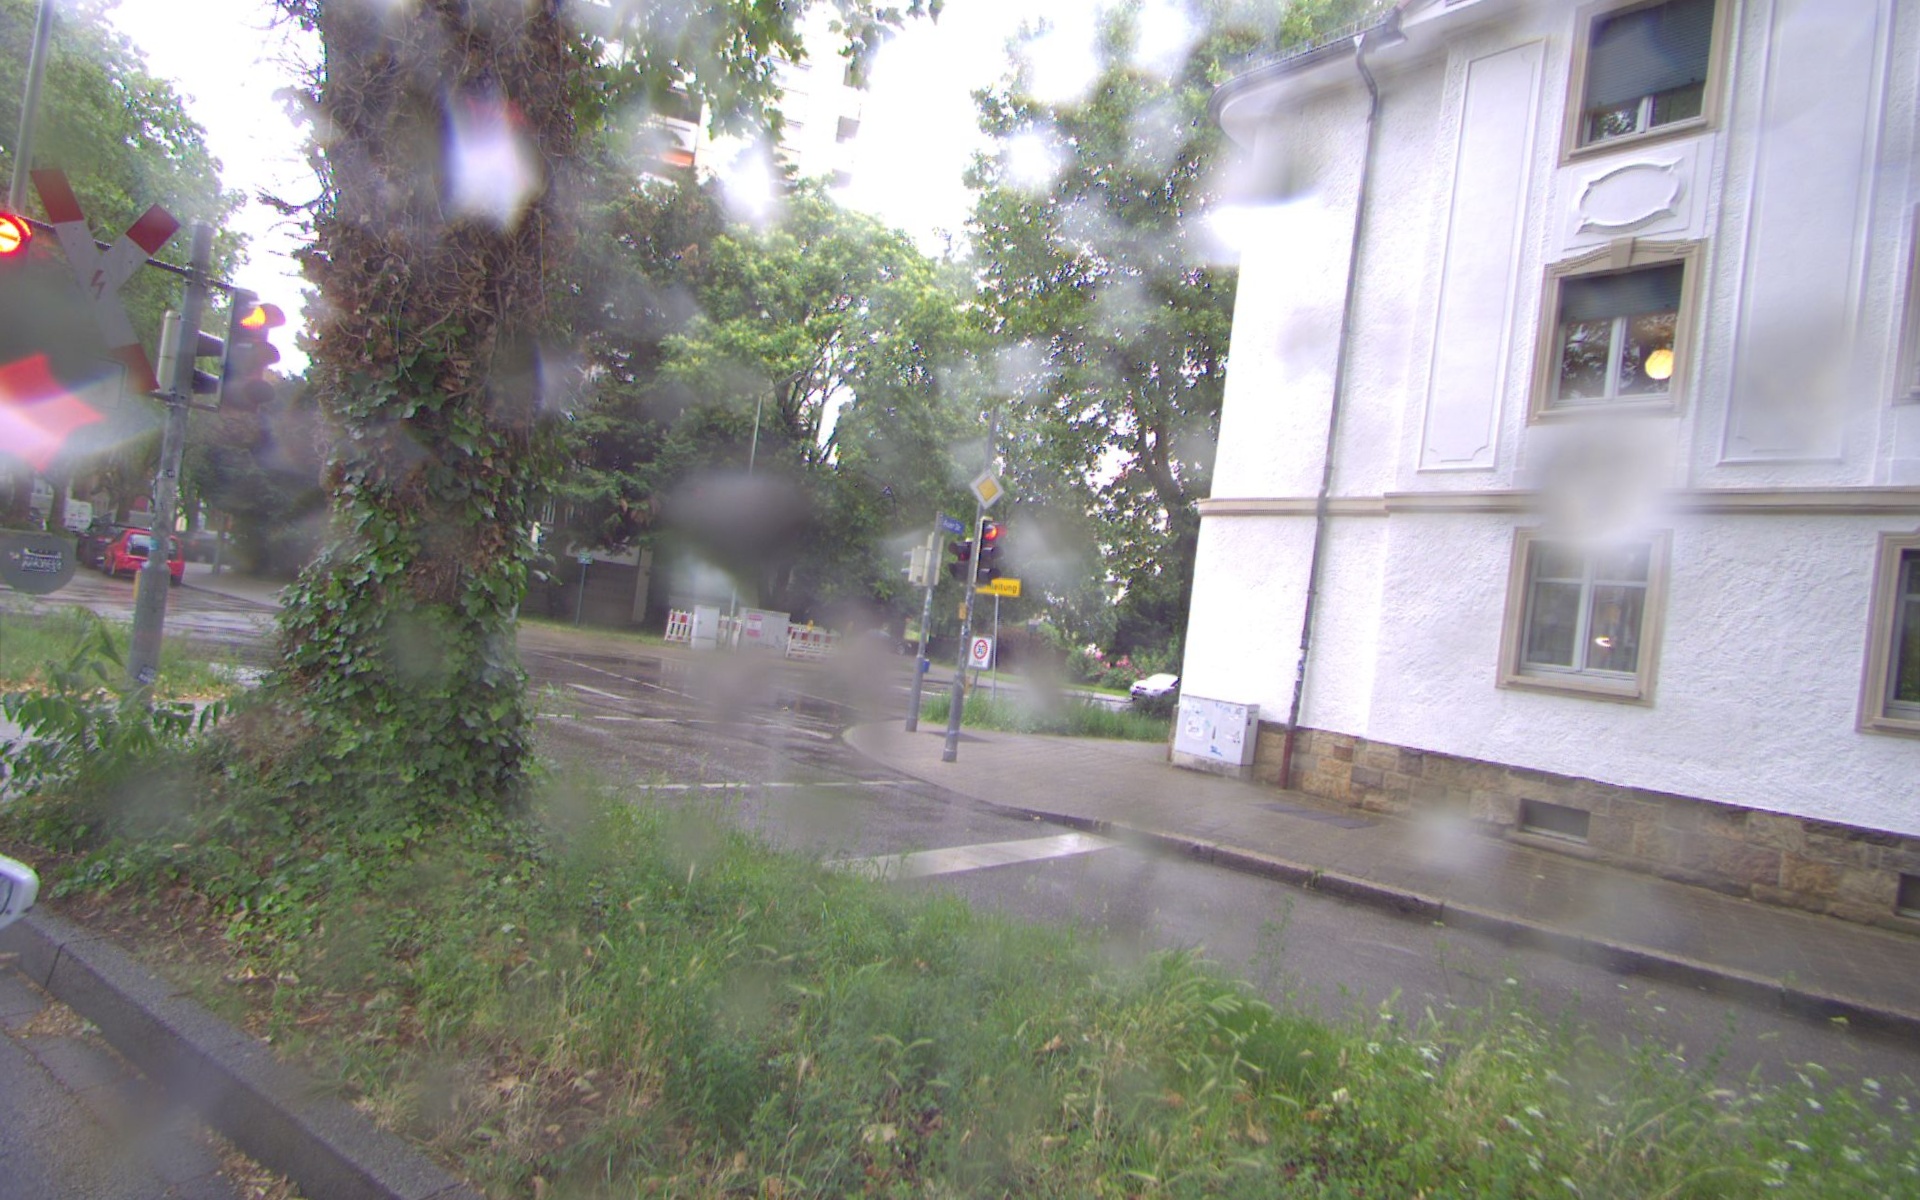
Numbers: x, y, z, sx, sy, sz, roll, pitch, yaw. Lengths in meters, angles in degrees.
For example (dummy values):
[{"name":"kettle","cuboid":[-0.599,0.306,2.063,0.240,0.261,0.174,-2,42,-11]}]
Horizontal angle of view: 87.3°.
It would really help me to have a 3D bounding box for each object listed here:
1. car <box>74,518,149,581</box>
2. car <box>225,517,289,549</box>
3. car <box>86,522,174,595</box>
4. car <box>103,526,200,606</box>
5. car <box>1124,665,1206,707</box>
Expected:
[{"name":"car","cuboid":[-32.894,-1.982,38.978,1.986,2.038,3.953,7,0,-42]},{"name":"car","cuboid":[-57.186,-5.451,81.852,3.969,2.038,1.689,7,0,-39]},{"name":"car","cuboid":[-27.976,-1.441,33.854,1.986,2.038,3.953,7,0,-42]},{"name":"car","cuboid":[-24.775,-1.070,30.768,1.986,2.038,3.953,7,0,-42]},{"name":"car","cuboid":[9.333,3.913,45.671,3.630,1.504,1.704,8,0,-43]}]
